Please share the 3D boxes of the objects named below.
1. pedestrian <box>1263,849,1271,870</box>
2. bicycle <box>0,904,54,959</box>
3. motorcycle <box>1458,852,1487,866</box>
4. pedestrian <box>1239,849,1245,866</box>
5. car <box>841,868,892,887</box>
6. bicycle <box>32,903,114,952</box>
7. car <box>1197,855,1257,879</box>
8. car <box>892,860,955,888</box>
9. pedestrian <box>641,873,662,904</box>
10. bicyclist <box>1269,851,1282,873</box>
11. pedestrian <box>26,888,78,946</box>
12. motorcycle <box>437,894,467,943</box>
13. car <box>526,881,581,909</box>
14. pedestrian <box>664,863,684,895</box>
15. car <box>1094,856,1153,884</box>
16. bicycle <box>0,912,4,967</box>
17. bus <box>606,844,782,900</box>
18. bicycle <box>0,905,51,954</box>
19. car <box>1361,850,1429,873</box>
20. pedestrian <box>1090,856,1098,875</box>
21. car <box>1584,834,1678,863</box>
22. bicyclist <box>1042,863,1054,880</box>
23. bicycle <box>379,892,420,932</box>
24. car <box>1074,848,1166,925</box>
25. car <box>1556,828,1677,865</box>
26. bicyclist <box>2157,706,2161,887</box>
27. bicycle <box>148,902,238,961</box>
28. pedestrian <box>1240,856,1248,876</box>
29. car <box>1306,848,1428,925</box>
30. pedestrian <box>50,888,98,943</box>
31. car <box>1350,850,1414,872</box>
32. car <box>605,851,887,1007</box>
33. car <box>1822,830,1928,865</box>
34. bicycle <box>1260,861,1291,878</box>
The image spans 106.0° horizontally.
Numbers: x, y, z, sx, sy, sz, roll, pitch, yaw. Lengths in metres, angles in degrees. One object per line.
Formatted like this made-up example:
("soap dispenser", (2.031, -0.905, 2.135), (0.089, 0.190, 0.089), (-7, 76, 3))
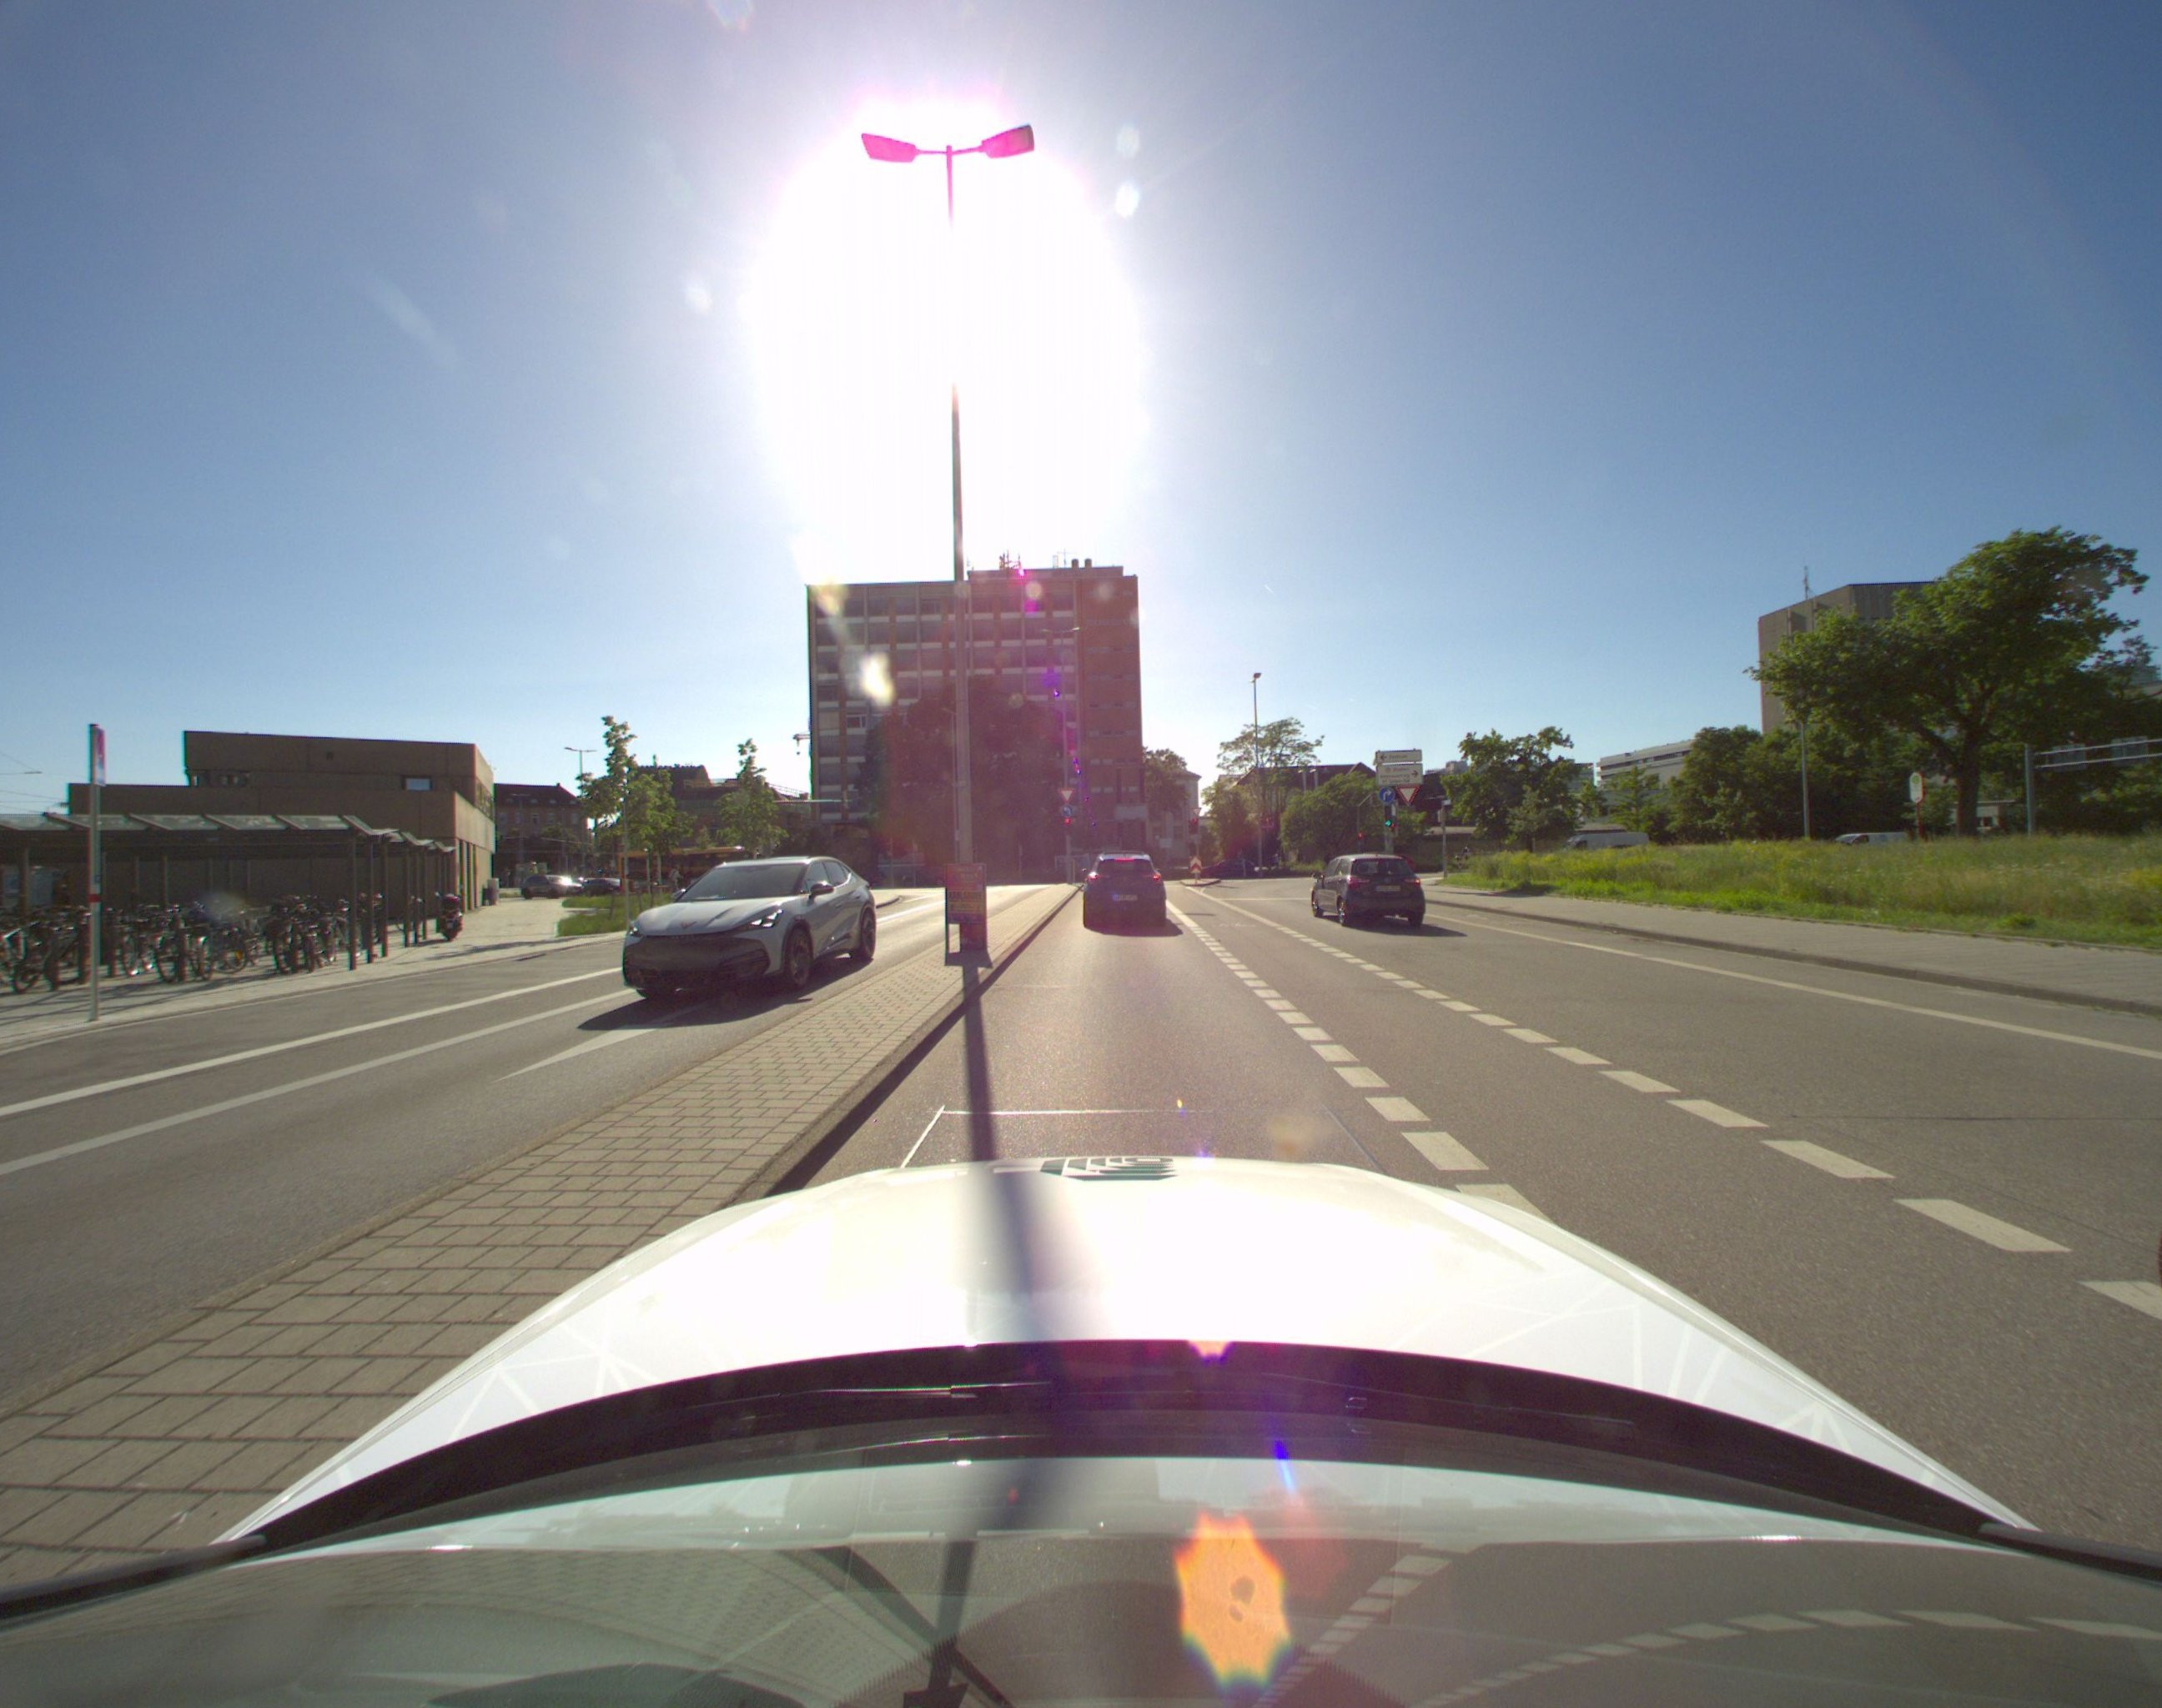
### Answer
("pedestrian", (15.197, 0.478, 66.649), (0.552, 1.670, 0.478), (-2, -2, 17))
("bicycle", (-22.632, 1.630, 17.062), (0.584, 1.088, 2.039), (0, -2, -28))
("motorcycle", (31.838, 0.411, 66.248), (2.030, 1.136, 0.674), (-2, -2, 24))
("pedestrian", (16.053, 0.306, 81.269), (0.573, 1.670, 0.564), (-2, -2, 12))
("car", (-18.729, 2.075, 71.066), (3.864, 1.586, 1.888), (-2, -2, 17))
("bicycle", (-24.523, 1.766, 19.850), (0.584, 1.088, 1.853), (0, -2, -30))
("car", (10.494, 0.944, 58.534), (4.086, 1.586, 1.886), (-2, -2, 13))
("car", (-12.177, 1.569, 63.080), (4.343, 2.014, 2.006), (-1, -2, 11))
("pedestrian", (-24.481, 1.937, 46.410), (0.648, 1.741, 0.792), (-2, -2, 18))
("bicyclist", (16.514, 0.702, 69.154), (0.848, 1.846, 0.856), (-2, -2, 25))
("pedestrian", (-34.356, 2.077, 27.203), (0.853, 1.883, 0.752), (0, -3, -35))
("motorcycle", (-15.968, 1.616, 20.684), (0.555, 1.177, 1.900), (0, -2, -37))
("car", (-38.927, 3.031, 60.124), (3.948, 2.014, 2.024), (-2, -2, 34))
("pedestrian", (-22.666, 1.397, 45.322), (0.619, 1.741, 0.792), (-2, -2, 18))
("car", (3.311, 1.255, 63.392), (4.319, 2.014, 2.006), (-1, -2, 11))
("bicycle", (-21.273, 1.657, 15.201), (0.584, 1.088, 2.039), (0, -2, -28))
("bus", (-26.089, 1.309, 54.740), (12.300, 3.396, 2.897), (-2, -2, 20))
("bicycle", (-25.363, 1.763, 19.241), (0.584, 1.088, 1.853), (0, -2, -30))
("car", (21.266, 0.505, 55.292), (3.963, 1.464, 2.005), (-2, -1, 9))
("pedestrian", (1.181, 1.025, 72.451), (0.556, 1.670, 0.478), (-2, -2, 17))
("car", (36.850, -0.361, 54.670), (4.826, 1.746, 2.078), (-2, 0, 7))
("bicyclist", (-2.852, 1.519, 70.272), (0.822, 1.444, 0.613), (-1, 0, -34))
("bicycle", (-19.397, 1.629, 23.219), (0.584, 1.088, 1.853), (0, -2, -30))
("car", (0.803, 0.696, 18.728), (1.818, 1.600, 3.655), (0, -1, -2))
("car", (38.097, -0.534, 58.082), (7.125, 2.423, 2.075), (-2, 0, 2))
("bicyclist", (3.006, 0.442, 1.467), (0.719, 1.626, 1.055), (0, -1, 1))
("bicycle", (-18.306, 1.570, 16.836), (0.584, 1.088, 2.039), (0, -2, -28))
("pedestrian", (13.695, 1.019, 68.585), (0.556, 1.670, 0.478), (-2, -2, 17))
("car", (6.283, 0.694, 18.278), (1.747, 1.542, 3.664), (-1, -1, 6))
("pedestrian", (-35.224, 2.136, 28.506), (0.853, 1.883, 0.752), (0, -3, -35))
("car", (21.675, 0.468, 58.813), (3.963, 1.464, 2.005), (-2, 0, 9))
("car", (-4.100, 0.798, 10.867), (1.811, 1.568, 4.251), (-3, 0, 2))
("car", (55.309, -0.453, 56.804), (5.062, 2.225, 2.078), (-2, 0, 7))
("bicycle", (16.484, 1.329, 69.138), (2.428, 1.370, 0.856), (-2, -2, 24))
